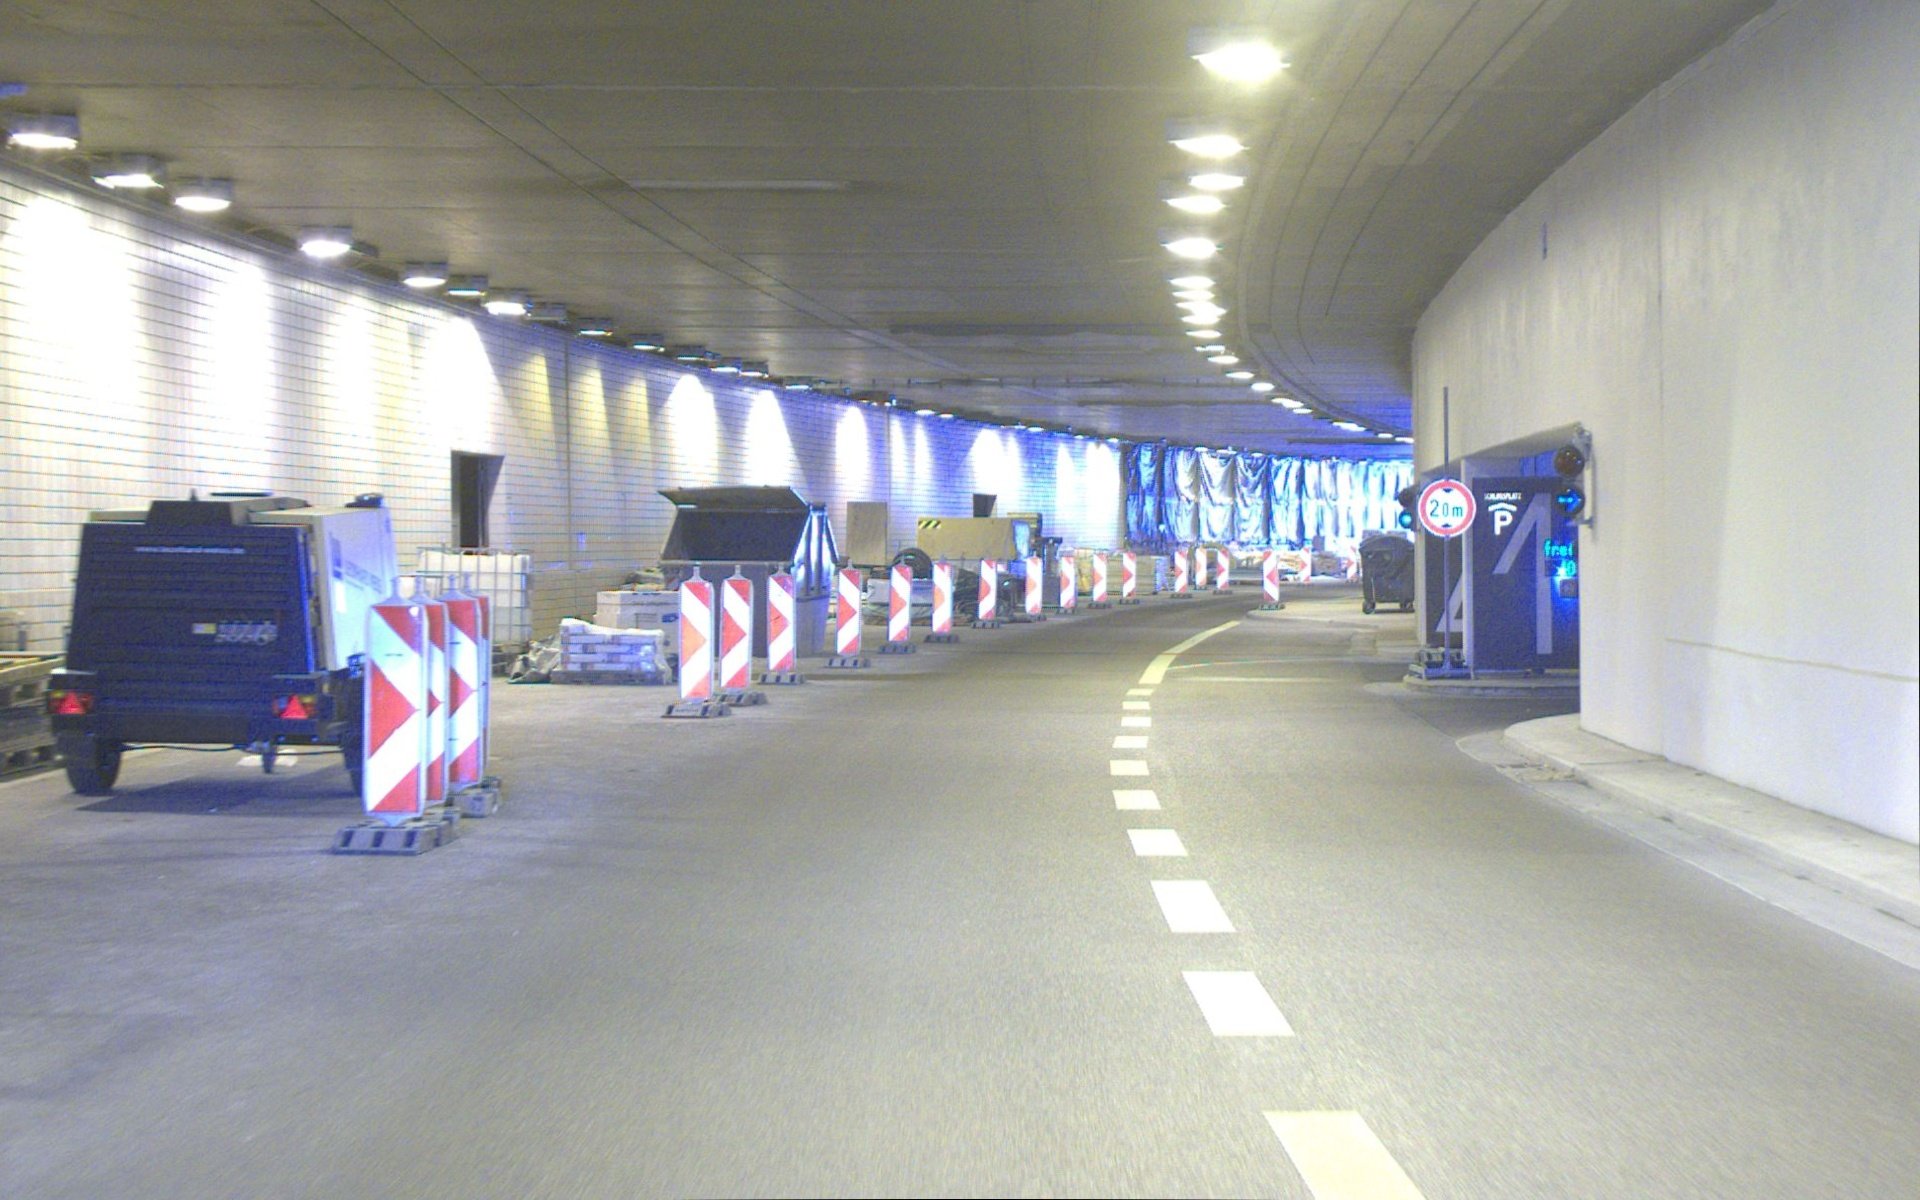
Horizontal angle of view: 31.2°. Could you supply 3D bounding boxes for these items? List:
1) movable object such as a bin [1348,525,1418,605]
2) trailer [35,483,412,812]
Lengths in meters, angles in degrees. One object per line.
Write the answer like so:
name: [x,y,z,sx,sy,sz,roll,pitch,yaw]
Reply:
movable object such as a bin: [7.983,-0.664,64.826,1.195,1.455,1.605,-2,1,9]
trailer: [-4.286,0.243,20.382,1.580,1.792,2.939,1,1,0]
